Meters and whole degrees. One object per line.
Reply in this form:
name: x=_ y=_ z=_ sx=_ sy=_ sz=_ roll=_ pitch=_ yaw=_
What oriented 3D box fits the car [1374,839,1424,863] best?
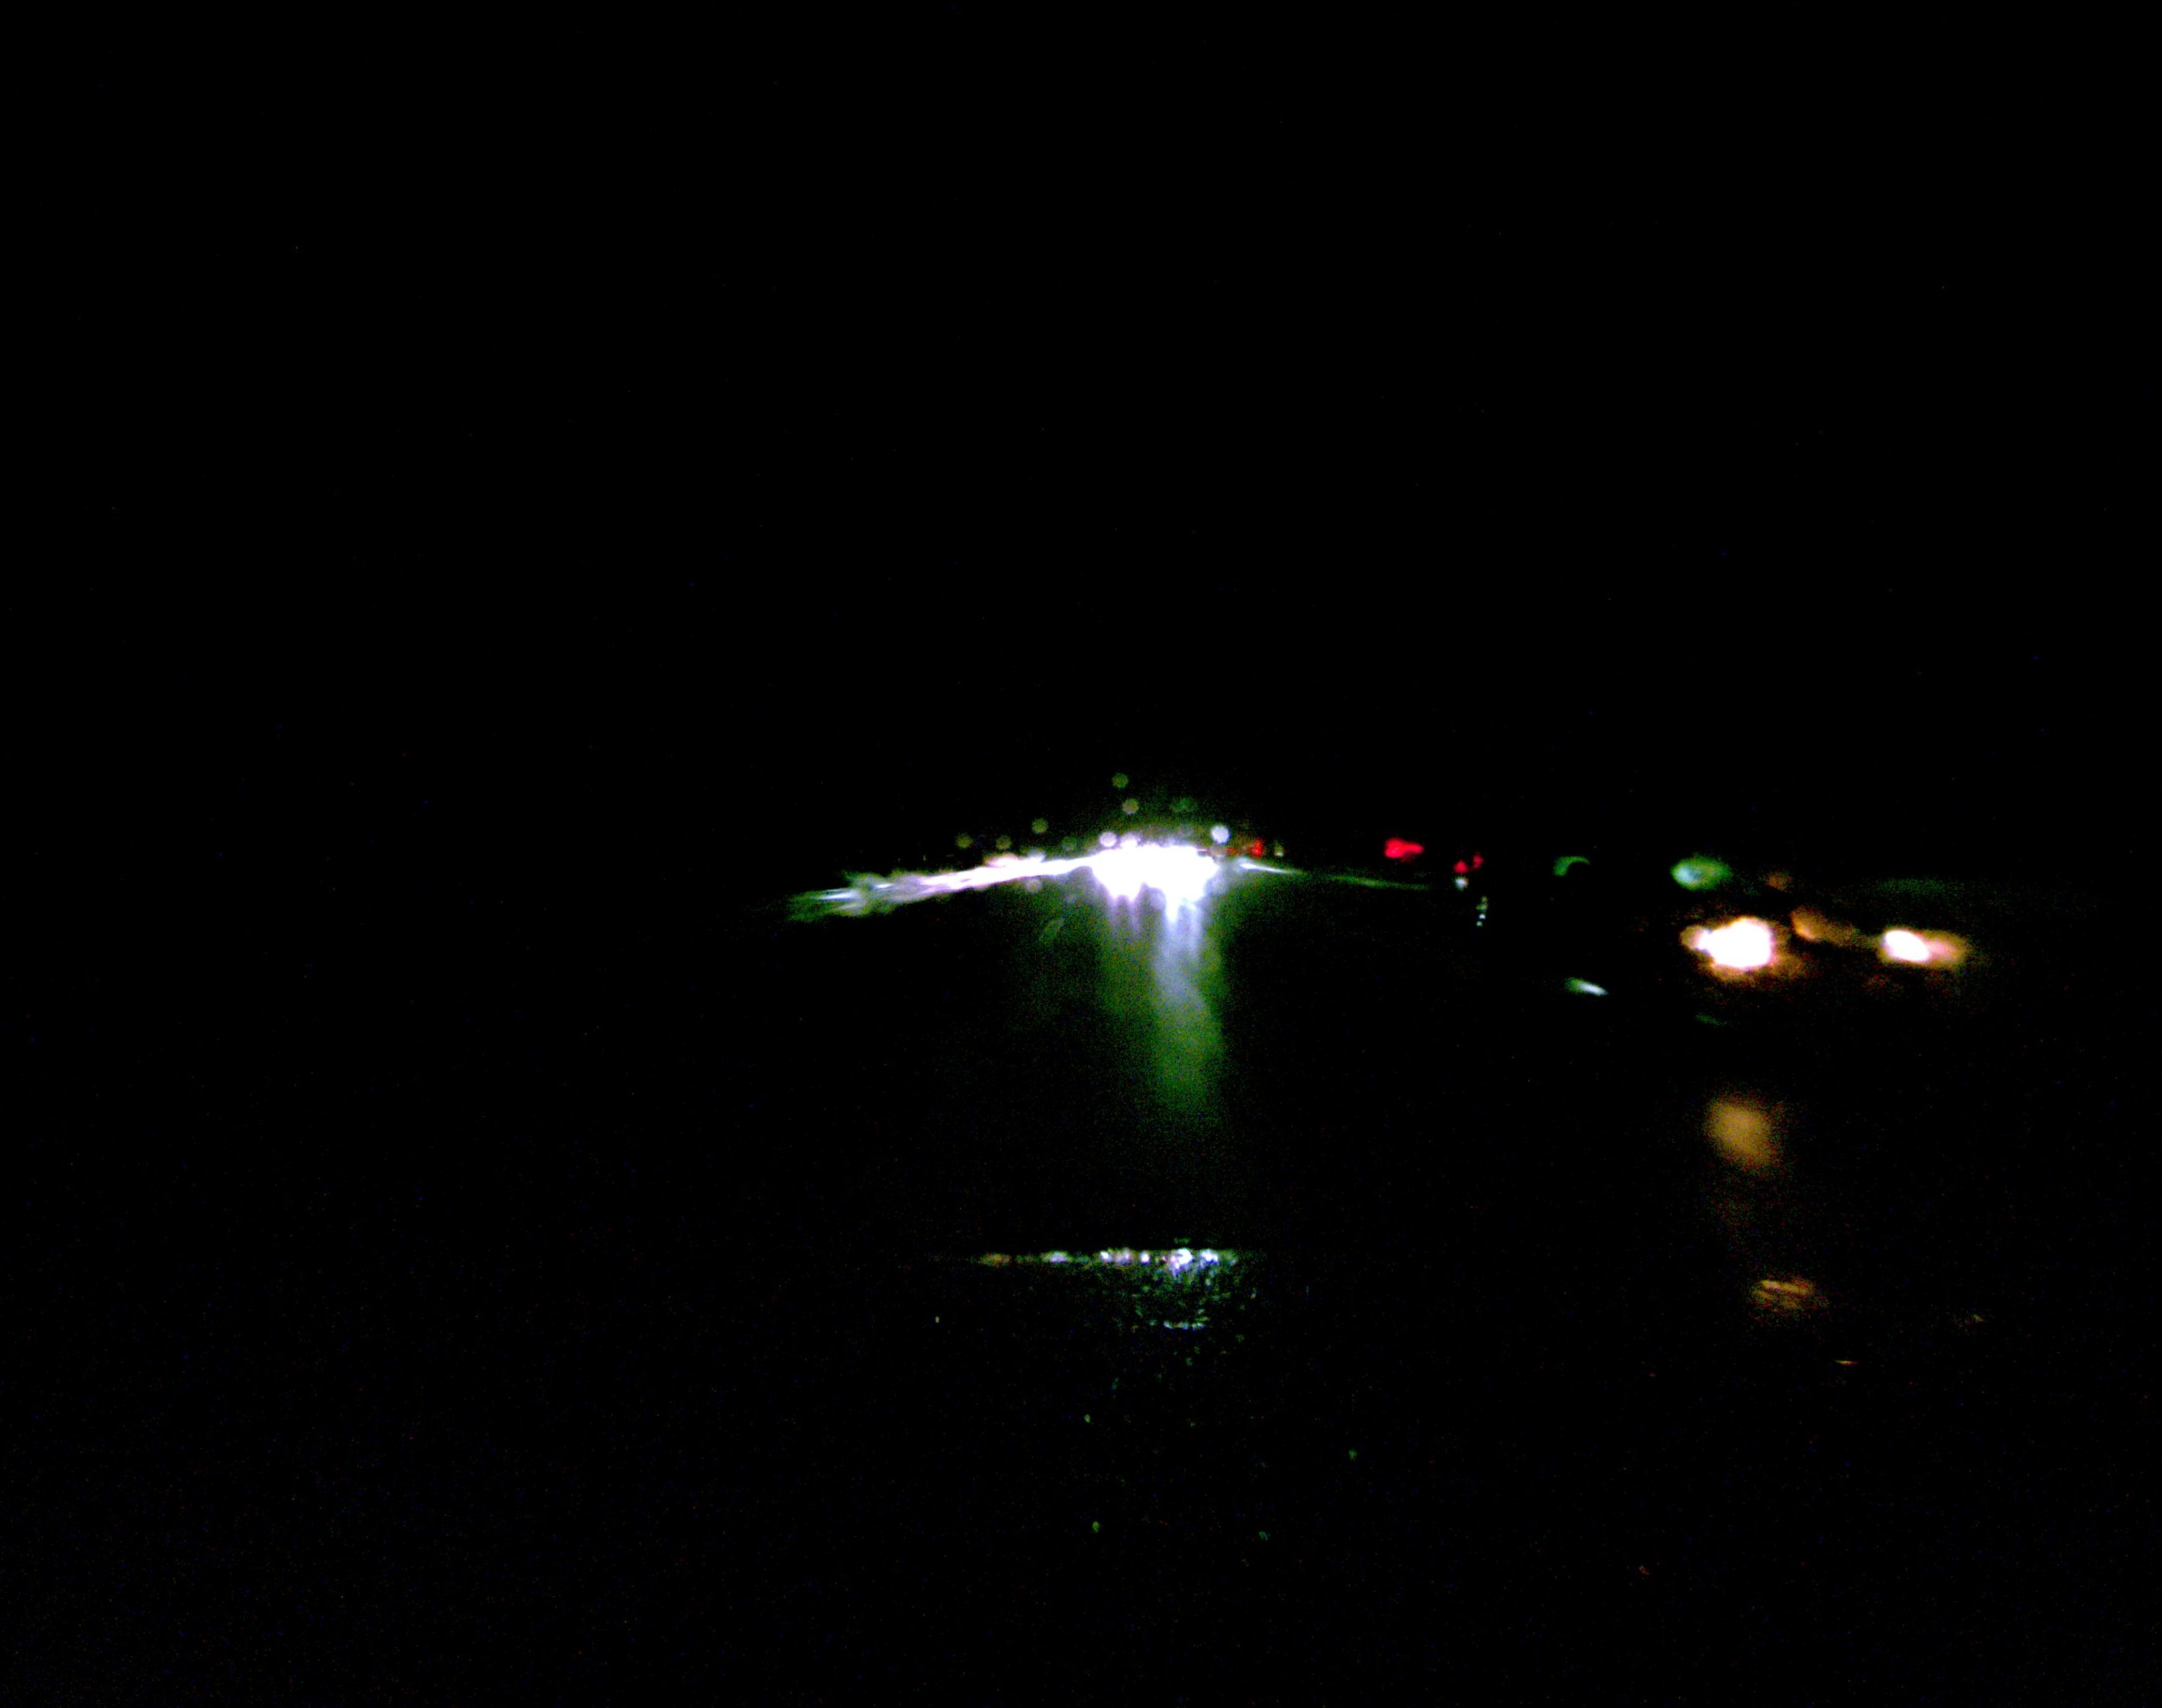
car: x=24.180 y=-0.266 z=57.878 sx=1.998 sy=1.633 sz=4.253 roll=-3 pitch=1 yaw=1

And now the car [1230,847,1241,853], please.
car: x=34.313 y=-0.871 z=168.795 sx=1.706 sy=1.148 sz=3.659 roll=-3 pitch=1 yaw=1

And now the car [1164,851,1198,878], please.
car: x=6.935 y=0.697 z=53.010 sx=1.998 sy=1.667 sz=4.001 roll=-3 pitch=1 yaw=4

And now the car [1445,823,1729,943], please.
car: x=9.062 y=0.436 z=14.281 sx=1.999 sy=1.767 sz=4.886 roll=-3 pitch=1 yaw=0

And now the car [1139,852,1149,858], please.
car: x=13.893 y=0.122 z=166.793 sx=1.997 sy=1.149 sz=4.001 roll=-3 pitch=1 yaw=7

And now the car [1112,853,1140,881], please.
car: x=3.591 y=1.011 z=60.250 sx=1.998 sy=2.002 sz=4.001 roll=-3 pitch=1 yaw=4

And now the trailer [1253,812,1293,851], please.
trailer: x=33.793 y=-3.801 z=134.398 sx=3.470 sy=6.092 sz=14.409 roll=-7 pitch=0 yaw=3

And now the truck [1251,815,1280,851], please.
truck: x=34.180 y=-3.834 z=140.893 sx=3.470 sy=6.092 sz=6.173 roll=-7 pitch=0 yaw=3

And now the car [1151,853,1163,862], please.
car: x=11.302 y=0.501 z=113.145 sx=1.692 sy=1.149 sz=3.421 roll=-3 pitch=1 yaw=5

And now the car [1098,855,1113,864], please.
car: x=3.719 y=0.821 z=115.542 sx=1.998 sy=1.149 sz=4.001 roll=-3 pitch=1 yaw=5

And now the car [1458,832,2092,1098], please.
car: x=5.370 y=0.677 z=6.855 sx=1.920 sy=1.585 sz=4.233 roll=-3 pitch=1 yaw=2

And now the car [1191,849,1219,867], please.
car: x=12.492 y=0.369 z=76.861 sx=2.310 sy=1.600 sz=3.872 roll=-3 pitch=1 yaw=3
